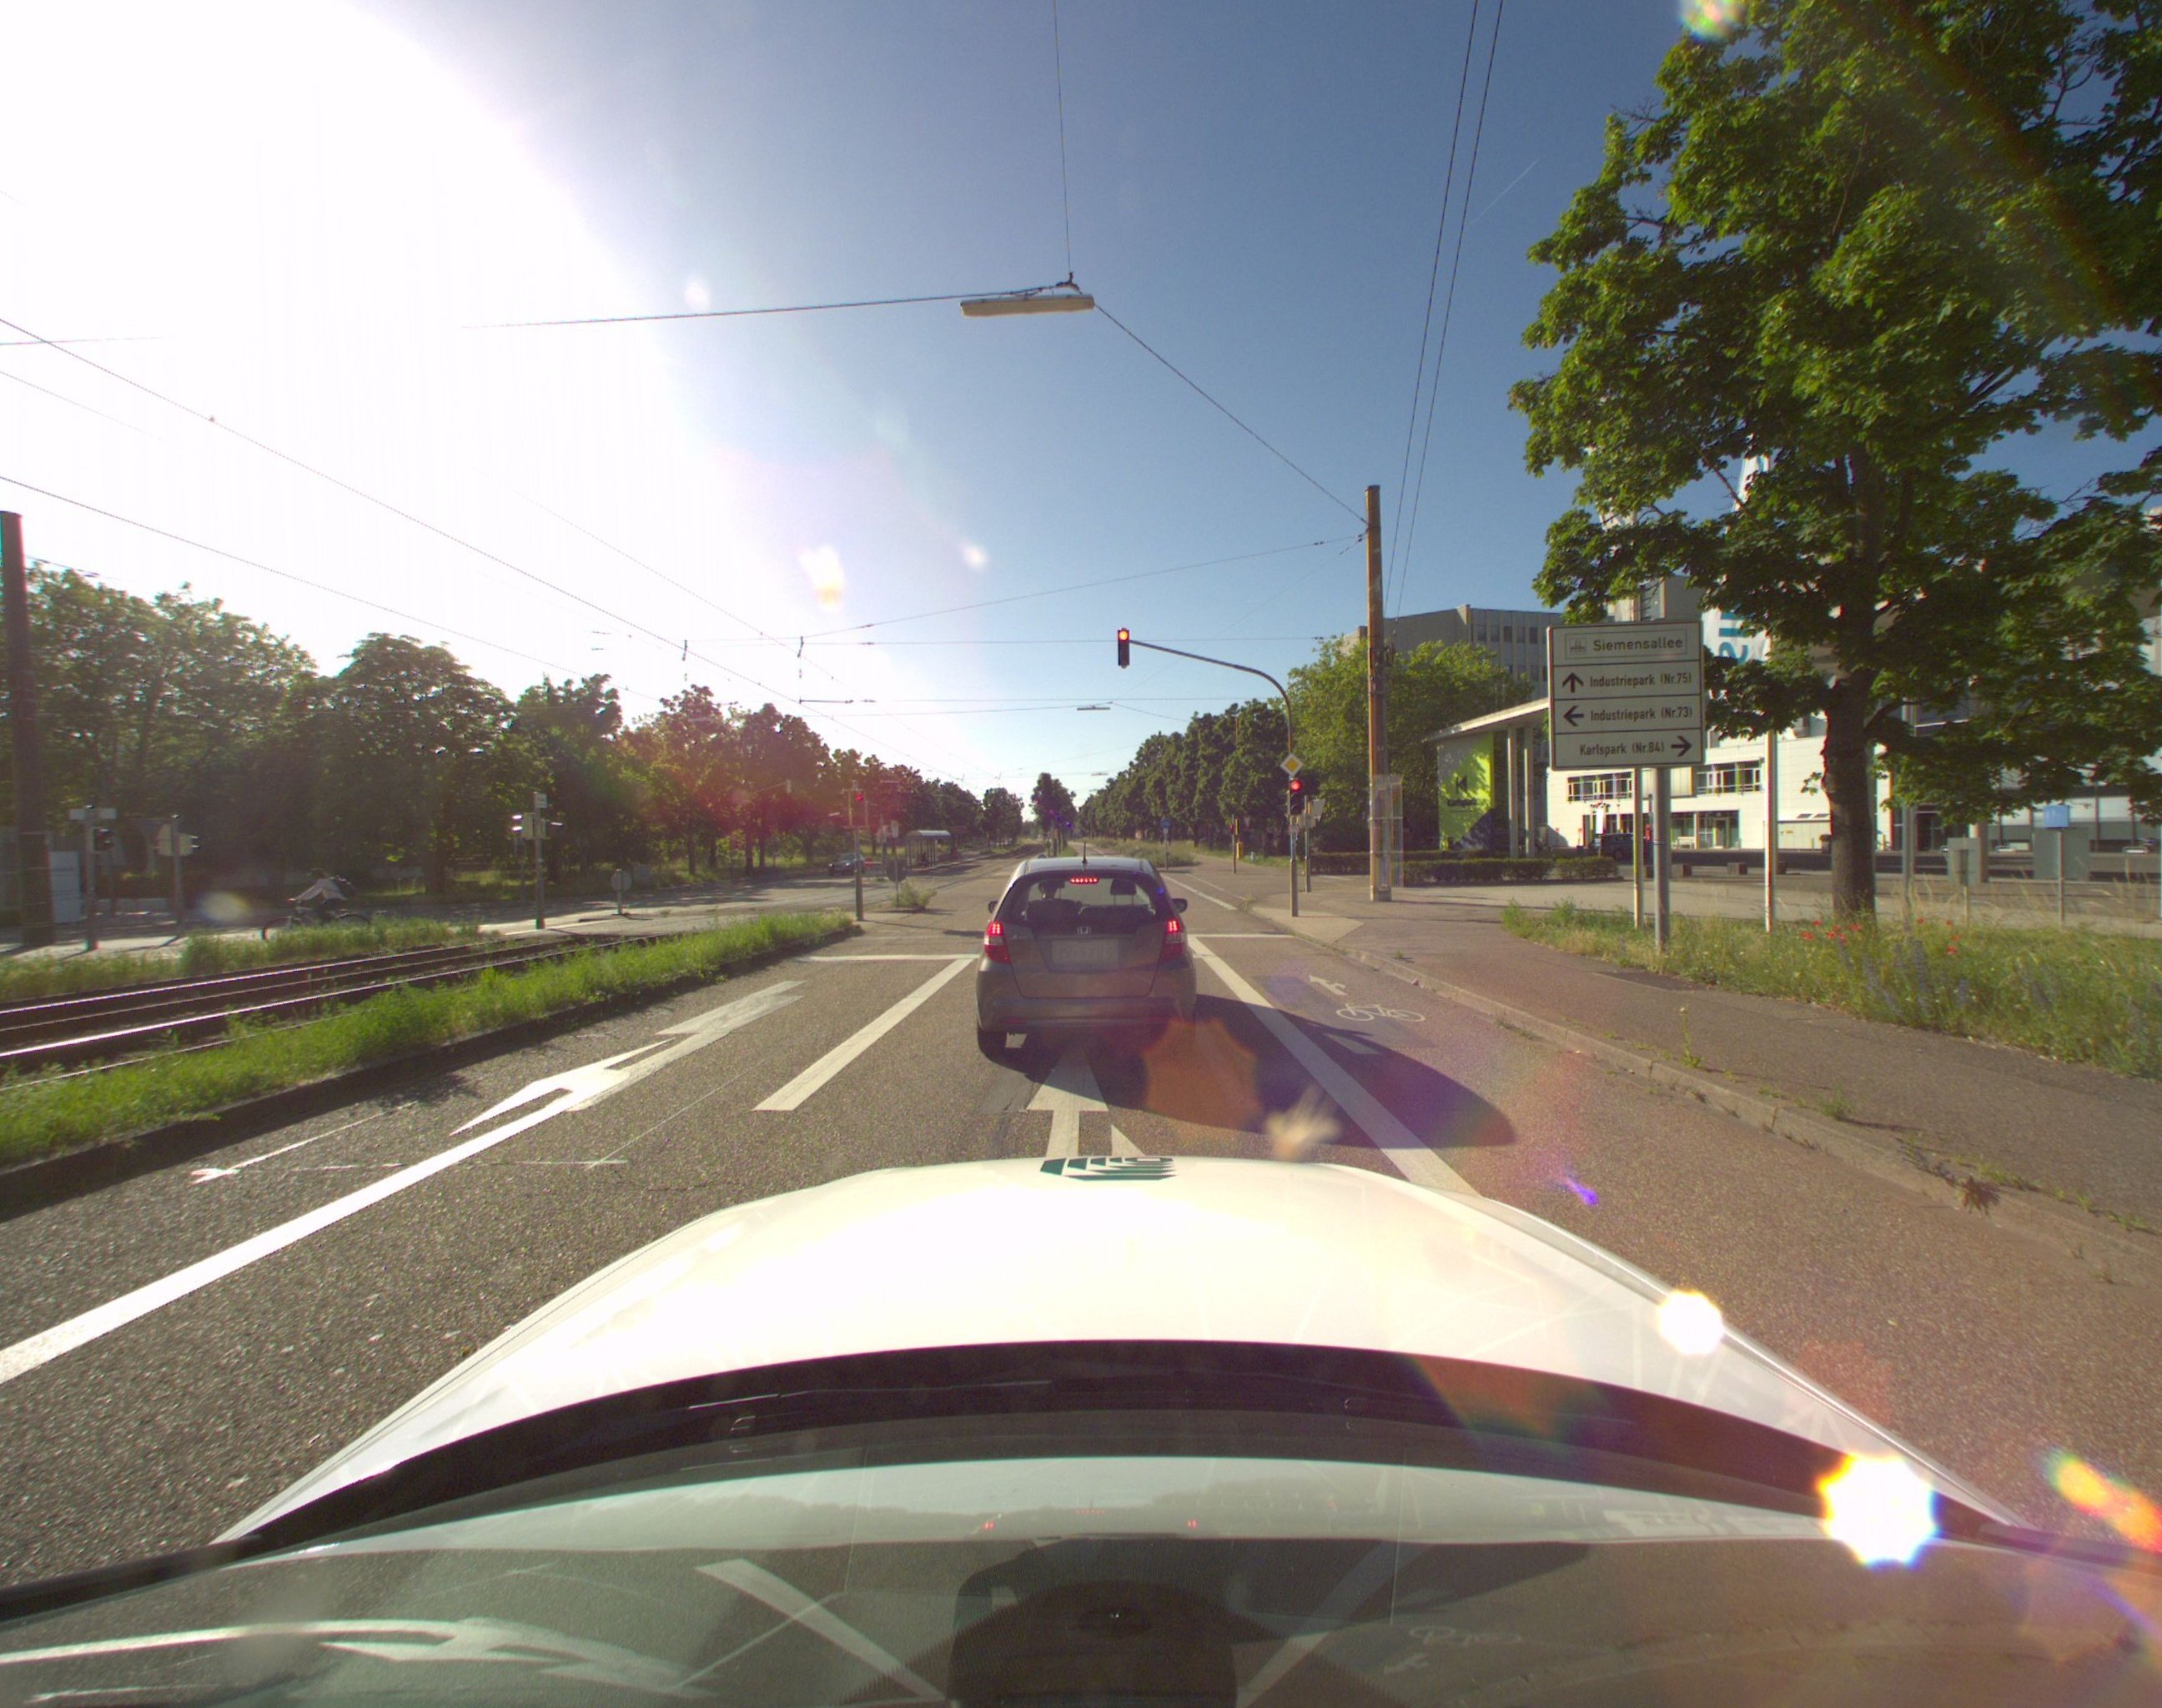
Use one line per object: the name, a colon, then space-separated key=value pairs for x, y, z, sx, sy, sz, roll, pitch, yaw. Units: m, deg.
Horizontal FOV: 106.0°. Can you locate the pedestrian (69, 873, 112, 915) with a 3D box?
pedestrian: x=-44.124 y=1.788 z=36.286 sx=0.943 sy=1.787 sz=0.824 roll=-2 pitch=1 yaw=15

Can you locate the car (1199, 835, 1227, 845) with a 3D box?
car: x=23.405 y=-2.534 z=144.249 sx=4.623 sy=1.555 sz=1.997 roll=-2 pitch=1 yaw=-5

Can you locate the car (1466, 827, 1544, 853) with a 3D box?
car: x=31.109 y=-1.041 z=59.772 sx=4.888 sy=1.757 sz=2.082 roll=-2 pitch=1 yaw=-14

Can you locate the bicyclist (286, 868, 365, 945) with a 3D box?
bicyclist: x=-16.735 y=1.135 z=18.036 sx=1.244 sy=1.593 sz=0.795 roll=-1 pitch=0 yaw=-45

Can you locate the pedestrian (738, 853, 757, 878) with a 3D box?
pedestrian: x=-24.331 y=0.845 z=59.444 sx=0.751 sy=1.734 sz=0.943 roll=-1 pitch=1 yaw=30

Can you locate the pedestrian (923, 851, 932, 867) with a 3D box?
pedestrian: x=-12.443 y=0.382 z=66.011 sx=0.562 sy=1.257 sz=0.581 roll=-4 pitch=0 yaw=1

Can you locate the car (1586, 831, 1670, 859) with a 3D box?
car: x=33.321 y=-0.560 z=49.642 sx=3.984 sy=1.578 sz=1.949 roll=-1 pitch=0 yaw=-8

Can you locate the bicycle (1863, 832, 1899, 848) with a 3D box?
bicycle: x=52.271 y=-0.888 z=53.243 sx=0.565 sy=1.004 sz=1.614 roll=-2 pitch=1 yaw=-13

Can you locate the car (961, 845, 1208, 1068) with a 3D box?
car: x=0.084 y=0.717 z=7.500 sx=1.694 sy=1.524 sz=3.711 roll=-1 pitch=0 yaw=2

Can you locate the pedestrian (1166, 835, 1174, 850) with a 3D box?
pedestrian: x=10.953 y=-1.415 z=100.256 sx=0.880 sy=1.884 sz=0.875 roll=-2 pitch=1 yaw=-2

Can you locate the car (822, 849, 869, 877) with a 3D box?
car: x=-17.835 y=0.636 z=61.910 sx=2.087 sy=1.810 sz=4.792 roll=-3 pitch=1 yaw=0

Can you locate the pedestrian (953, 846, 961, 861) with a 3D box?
pedestrian: x=-12.264 y=-0.044 z=80.580 sx=0.542 sy=1.447 sz=0.559 roll=-2 pitch=0 yaw=1

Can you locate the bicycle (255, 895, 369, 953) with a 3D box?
bicycle: x=-16.876 y=1.517 z=17.906 sx=1.791 sy=1.102 sz=0.690 roll=-1 pitch=0 yaw=-45

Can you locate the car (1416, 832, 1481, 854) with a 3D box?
car: x=30.047 y=-0.916 z=66.664 sx=4.448 sy=1.686 sz=1.892 roll=-2 pitch=1 yaw=-4

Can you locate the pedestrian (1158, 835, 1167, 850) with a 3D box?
pedestrian: x=10.016 y=-1.408 z=100.265 sx=0.880 sy=1.884 sz=0.875 roll=-2 pitch=1 yaw=-2
